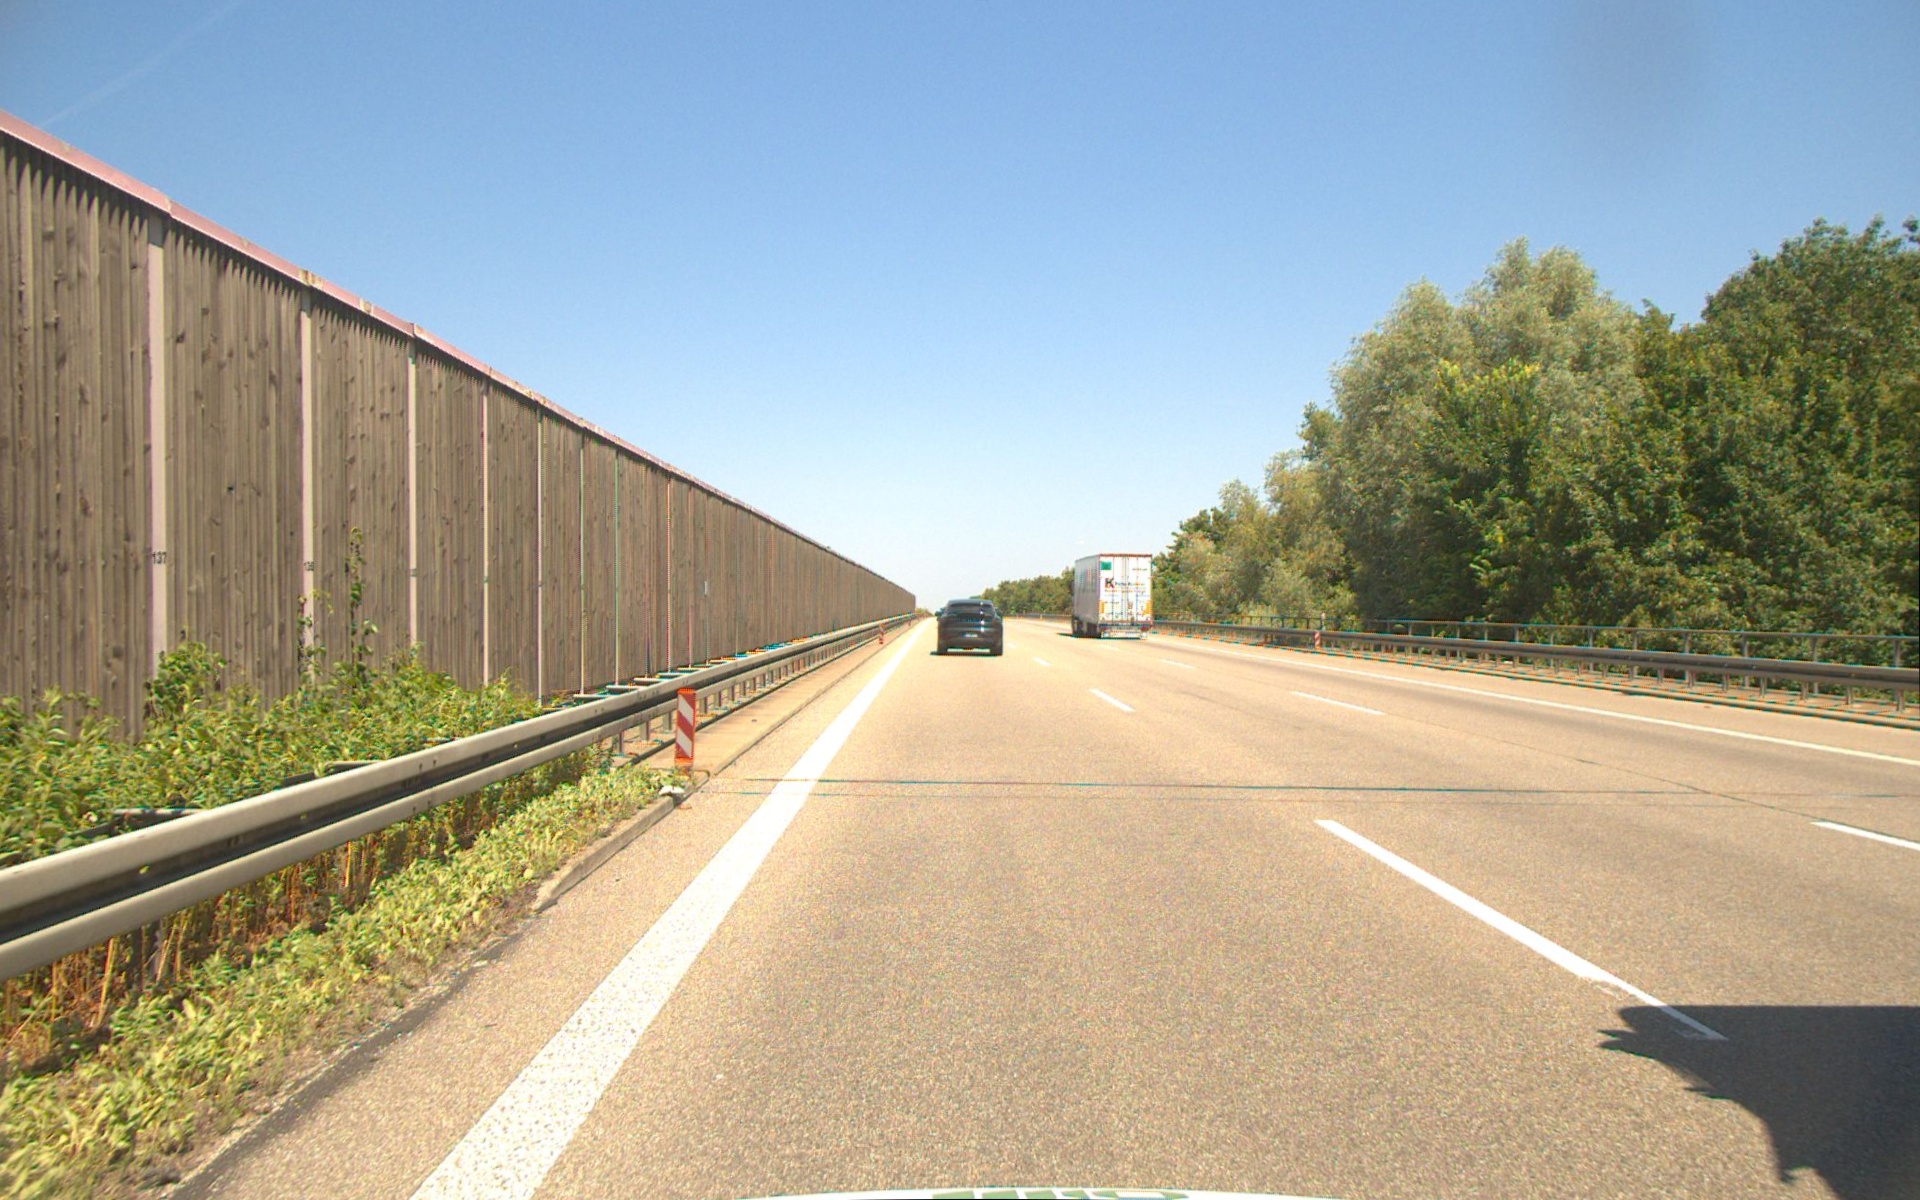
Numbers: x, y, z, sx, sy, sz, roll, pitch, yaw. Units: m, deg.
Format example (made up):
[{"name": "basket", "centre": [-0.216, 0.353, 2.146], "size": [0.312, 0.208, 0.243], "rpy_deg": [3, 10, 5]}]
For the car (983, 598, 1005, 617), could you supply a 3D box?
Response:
[{"name": "car", "centre": [3.089, 0.689, 149.796], "size": [1.864, 1.612, 4.303], "rpy_deg": [-1, -1, 0]}]

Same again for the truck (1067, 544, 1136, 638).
[{"name": "truck", "centre": [7.800, -0.472, 91.816], "size": [3.168, 4.975, 6.971], "rpy_deg": [1, 0, 0]}]

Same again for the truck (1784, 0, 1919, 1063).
[{"name": "truck", "centre": [4.435, -0.631, 2.586], "size": [2.646, 4.190, 6.988], "rpy_deg": [1, 0, -2]}]

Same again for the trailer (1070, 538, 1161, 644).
[{"name": "trailer", "centre": [7.784, -0.409, 84.834], "size": [3.202, 4.922, 14.027], "rpy_deg": [1, 0, 0]}]

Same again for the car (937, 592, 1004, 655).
[{"name": "car", "centre": [0.284, 0.678, 50.218], "size": [1.842, 1.823, 3.998], "rpy_deg": [0, 0, -2]}]
